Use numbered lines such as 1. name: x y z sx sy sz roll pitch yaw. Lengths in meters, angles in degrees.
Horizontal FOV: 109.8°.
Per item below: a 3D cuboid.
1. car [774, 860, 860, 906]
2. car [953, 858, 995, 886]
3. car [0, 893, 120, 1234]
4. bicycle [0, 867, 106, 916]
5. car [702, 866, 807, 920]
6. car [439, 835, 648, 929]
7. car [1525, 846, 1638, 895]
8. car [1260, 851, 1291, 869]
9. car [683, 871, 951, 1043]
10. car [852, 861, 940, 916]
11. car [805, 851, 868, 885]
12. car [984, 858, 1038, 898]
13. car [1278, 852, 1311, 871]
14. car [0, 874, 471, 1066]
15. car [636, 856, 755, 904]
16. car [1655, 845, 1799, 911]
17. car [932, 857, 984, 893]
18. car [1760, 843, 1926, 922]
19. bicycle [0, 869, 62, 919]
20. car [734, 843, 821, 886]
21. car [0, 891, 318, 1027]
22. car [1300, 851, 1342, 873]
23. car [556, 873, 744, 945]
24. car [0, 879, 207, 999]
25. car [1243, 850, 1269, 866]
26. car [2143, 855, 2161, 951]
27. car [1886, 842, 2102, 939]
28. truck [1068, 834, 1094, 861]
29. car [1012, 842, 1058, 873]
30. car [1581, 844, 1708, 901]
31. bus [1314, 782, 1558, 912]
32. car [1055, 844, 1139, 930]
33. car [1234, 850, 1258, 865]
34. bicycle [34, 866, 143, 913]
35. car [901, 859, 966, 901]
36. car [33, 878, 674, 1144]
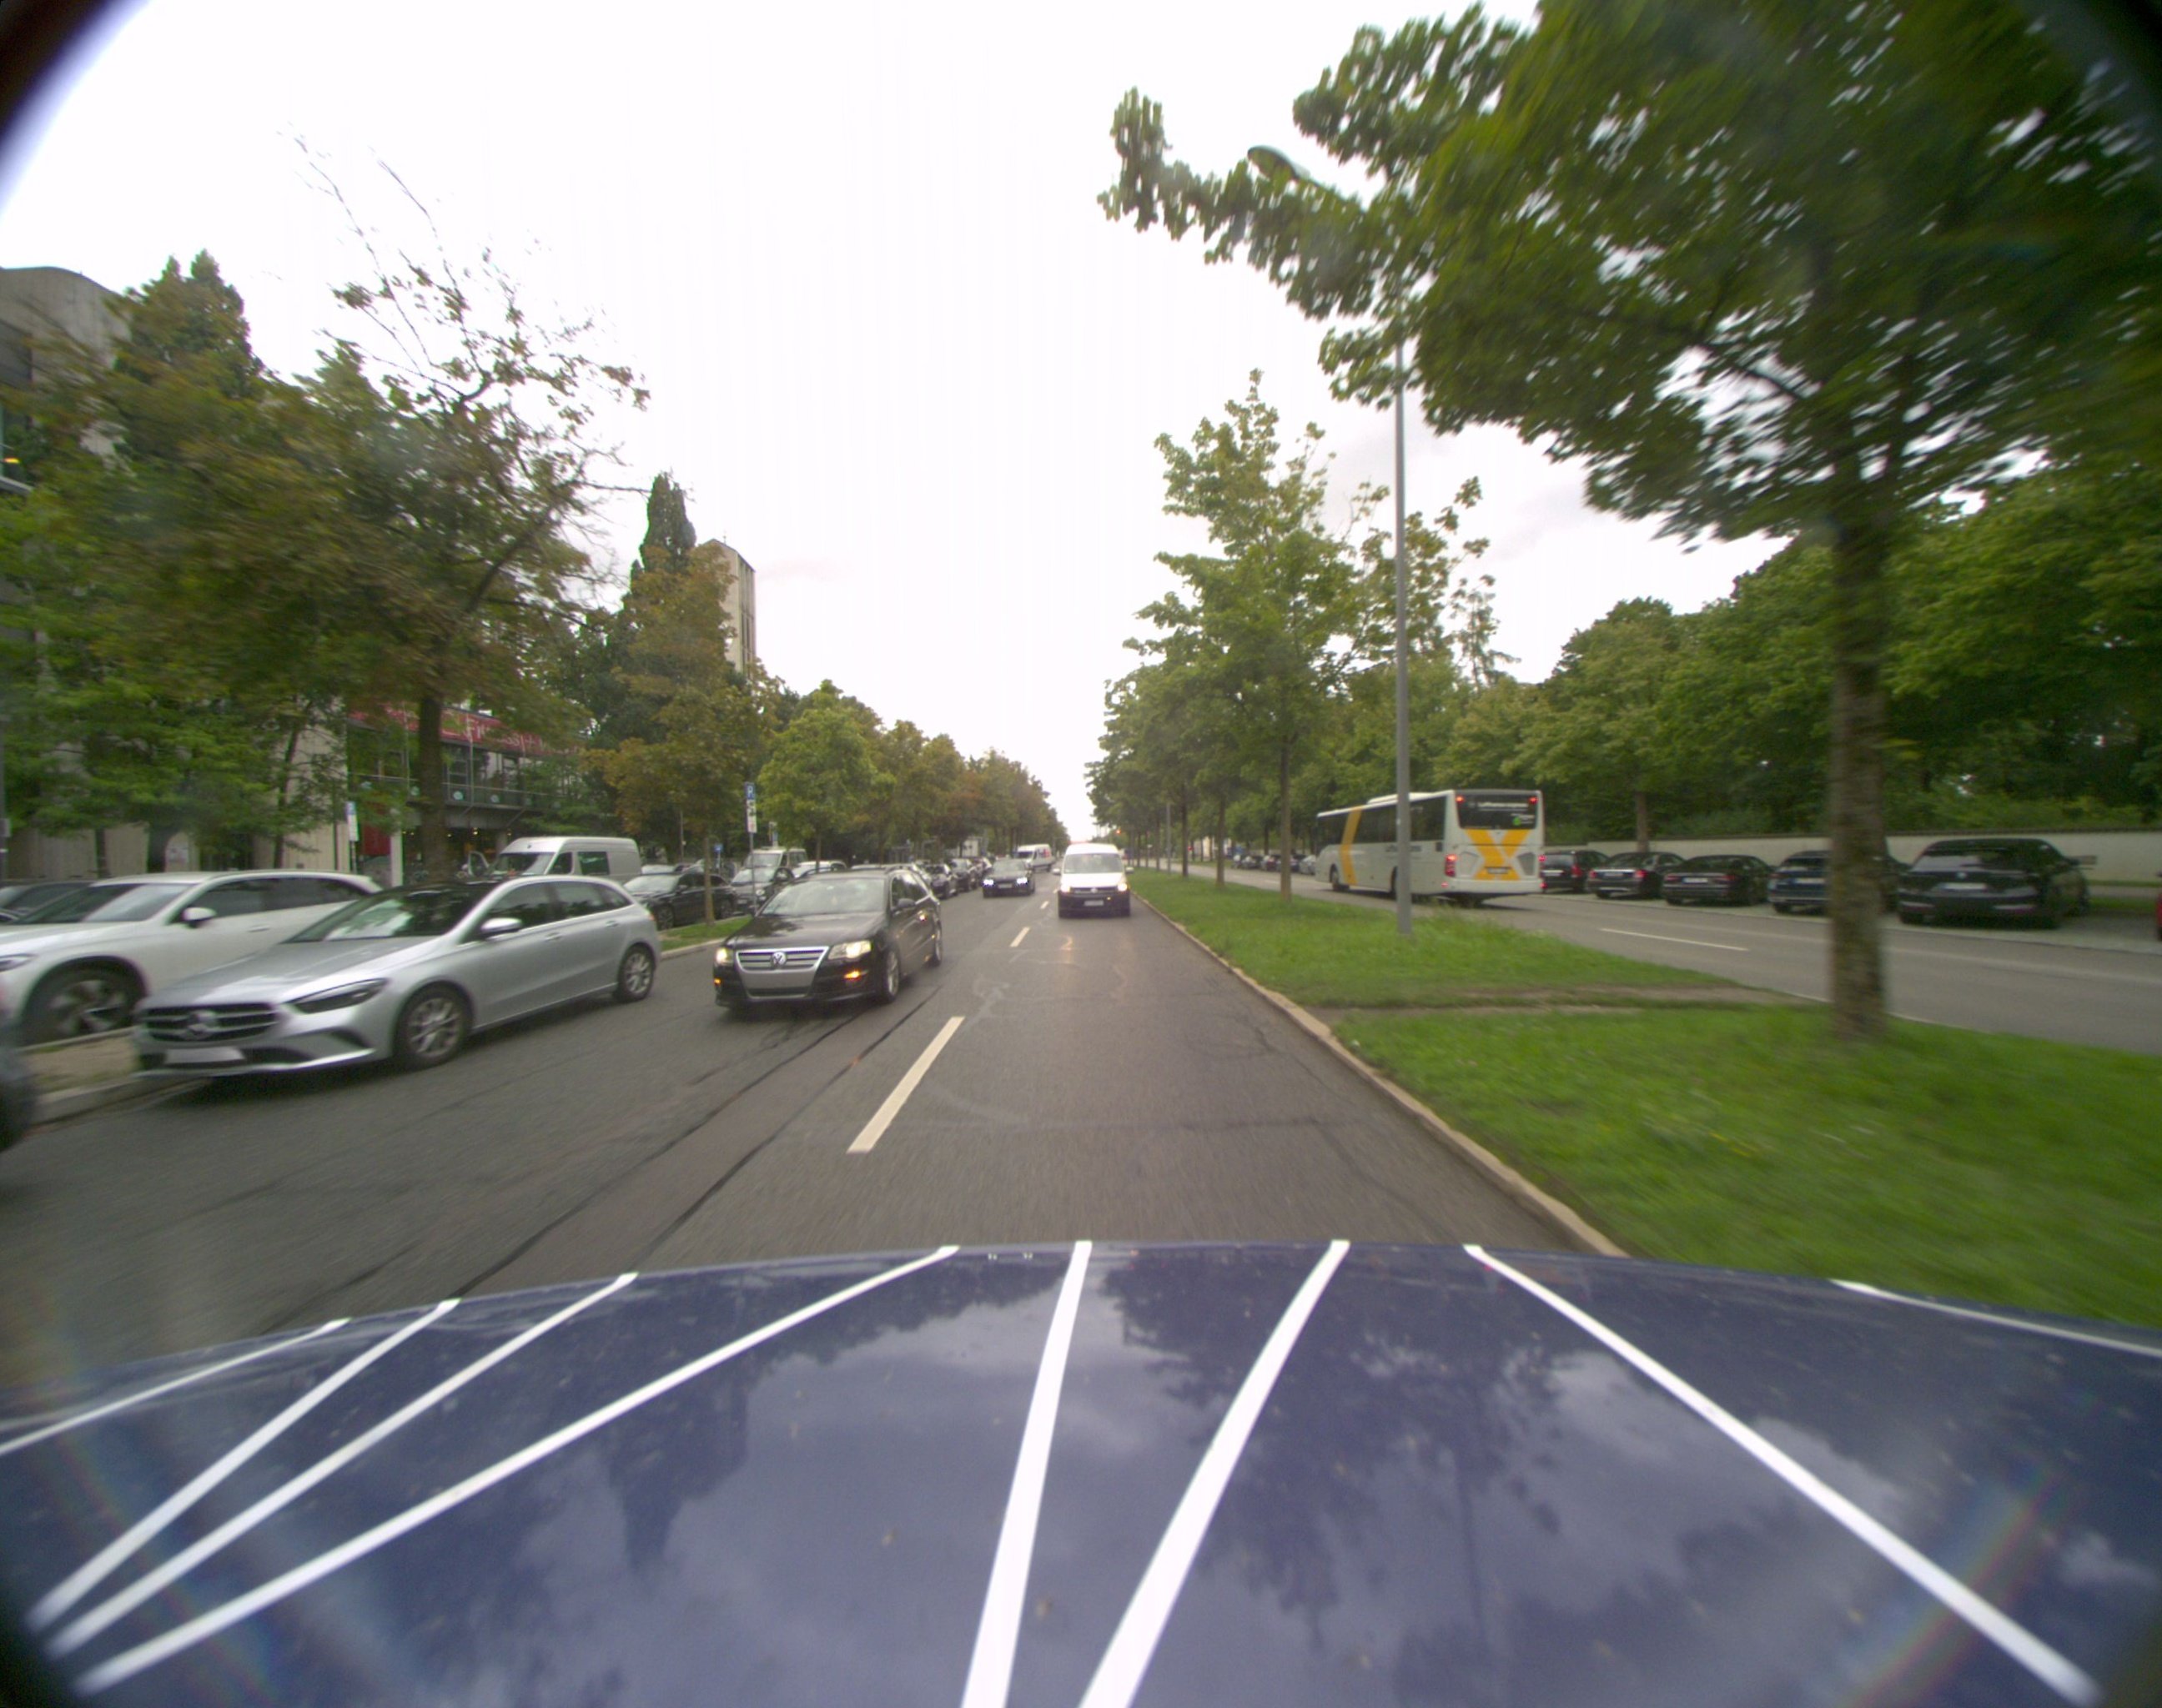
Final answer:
1. car: -10.118 1.057 29.417 1.826 1.534 4.054 -2 0 0
2. car: -6.001 0.975 42.989 1.735 1.354 4.099 -2 0 -1
3. car: -6.141 1.095 1.892 1.686 1.632 4.464 -4 0 0
4. bicycle: -28.714 1.031 21.149 2.313 1.294 0.676 -1 1 2
5. car: -10.112 1.162 23.816 1.720 1.424 3.446 -2 0 0
6. car: -16.353 0.750 23.695 2.268 2.514 5.857 -1 0 1
7. car: 18.312 0.578 27.787 4.006 1.548 1.887 -3 0 -32
8. car: 16.939 0.486 66.274 1.889 1.435 4.169 -2 1 4
9. car: -2.863 1.022 9.379 1.735 1.424 4.441 -2 0 -1
10. car: -5.884 1.030 24.653 1.735 1.498 4.441 -2 0 -1
11. car: -16.234 0.886 50.851 2.268 2.091 5.857 -1 0 1
12. car: -2.764 0.911 30.803 1.763 1.405 4.461 -2 0 -1
13. car: 16.936 0.560 60.541 1.741 1.363 4.169 -2 1 4
14. car: -10.368 1.146 9.310 1.826 1.581 4.874 -2 0 -1
15. car: -15.930 1.004 31.822 2.268 1.801 5.177 -1 0 1
16. car: 18.211 0.627 21.385 4.006 1.548 1.887 -3 0 -32
17. car: -5.807 0.935 36.293 1.735 1.507 4.441 -2 0 -1
18. car: 18.178 0.629 18.091 4.006 1.548 1.887 -3 0 -32
19. bicycle: -28.725 1.071 20.235 2.313 1.294 0.649 -1 1 2
20. car: -16.178 0.522 40.927 2.268 2.091 5.857 -1 0 1
21. car: -13.271 1.322 10.090 1.726 1.371 4.352 -2 1 2
22. car: 17.111 0.550 54.375 1.889 1.435 4.169 -2 1 4
23. car: -10.252 1.234 18.543 1.826 1.338 4.437 -2 0 3
24. car: -16.428 1.270 11.336 1.865 1.624 4.340 0 0 -3
25. car: 17.152 0.410 74.595 1.889 1.435 4.169 -2 1 4
26. car: 19.016 0.682 12.170 4.005 1.446 1.736 -3 0 -27
27. car: 18.225 0.653 15.163 4.005 1.548 1.888 -3 0 -27
28. truck: 0.083 -0.768 96.206 3.046 3.170 9.133 -2 0 1
29. car: -4.262 0.285 71.389 1.975 2.642 6.013 -2 0 20
30. car: 18.055 0.569 24.314 4.006 1.548 1.887 -3 0 -32
31. bus: 10.789 -0.250 25.175 2.676 3.279 11.925 1 1 1
32. car: 0.331 0.712 18.874 1.750 1.807 4.667 -2 0 -1
33. car: 17.398 0.329 80.280 1.889 1.435 4.169 -2 1 4
34. bicycle: -28.718 1.021 21.997 2.313 1.294 0.649 -1 1 2
35. car: -5.816 0.977 30.536 1.735 1.424 4.441 -2 0 -1
36. car: -6.053 1.121 7.301 1.686 1.513 4.465 -4 0 1
